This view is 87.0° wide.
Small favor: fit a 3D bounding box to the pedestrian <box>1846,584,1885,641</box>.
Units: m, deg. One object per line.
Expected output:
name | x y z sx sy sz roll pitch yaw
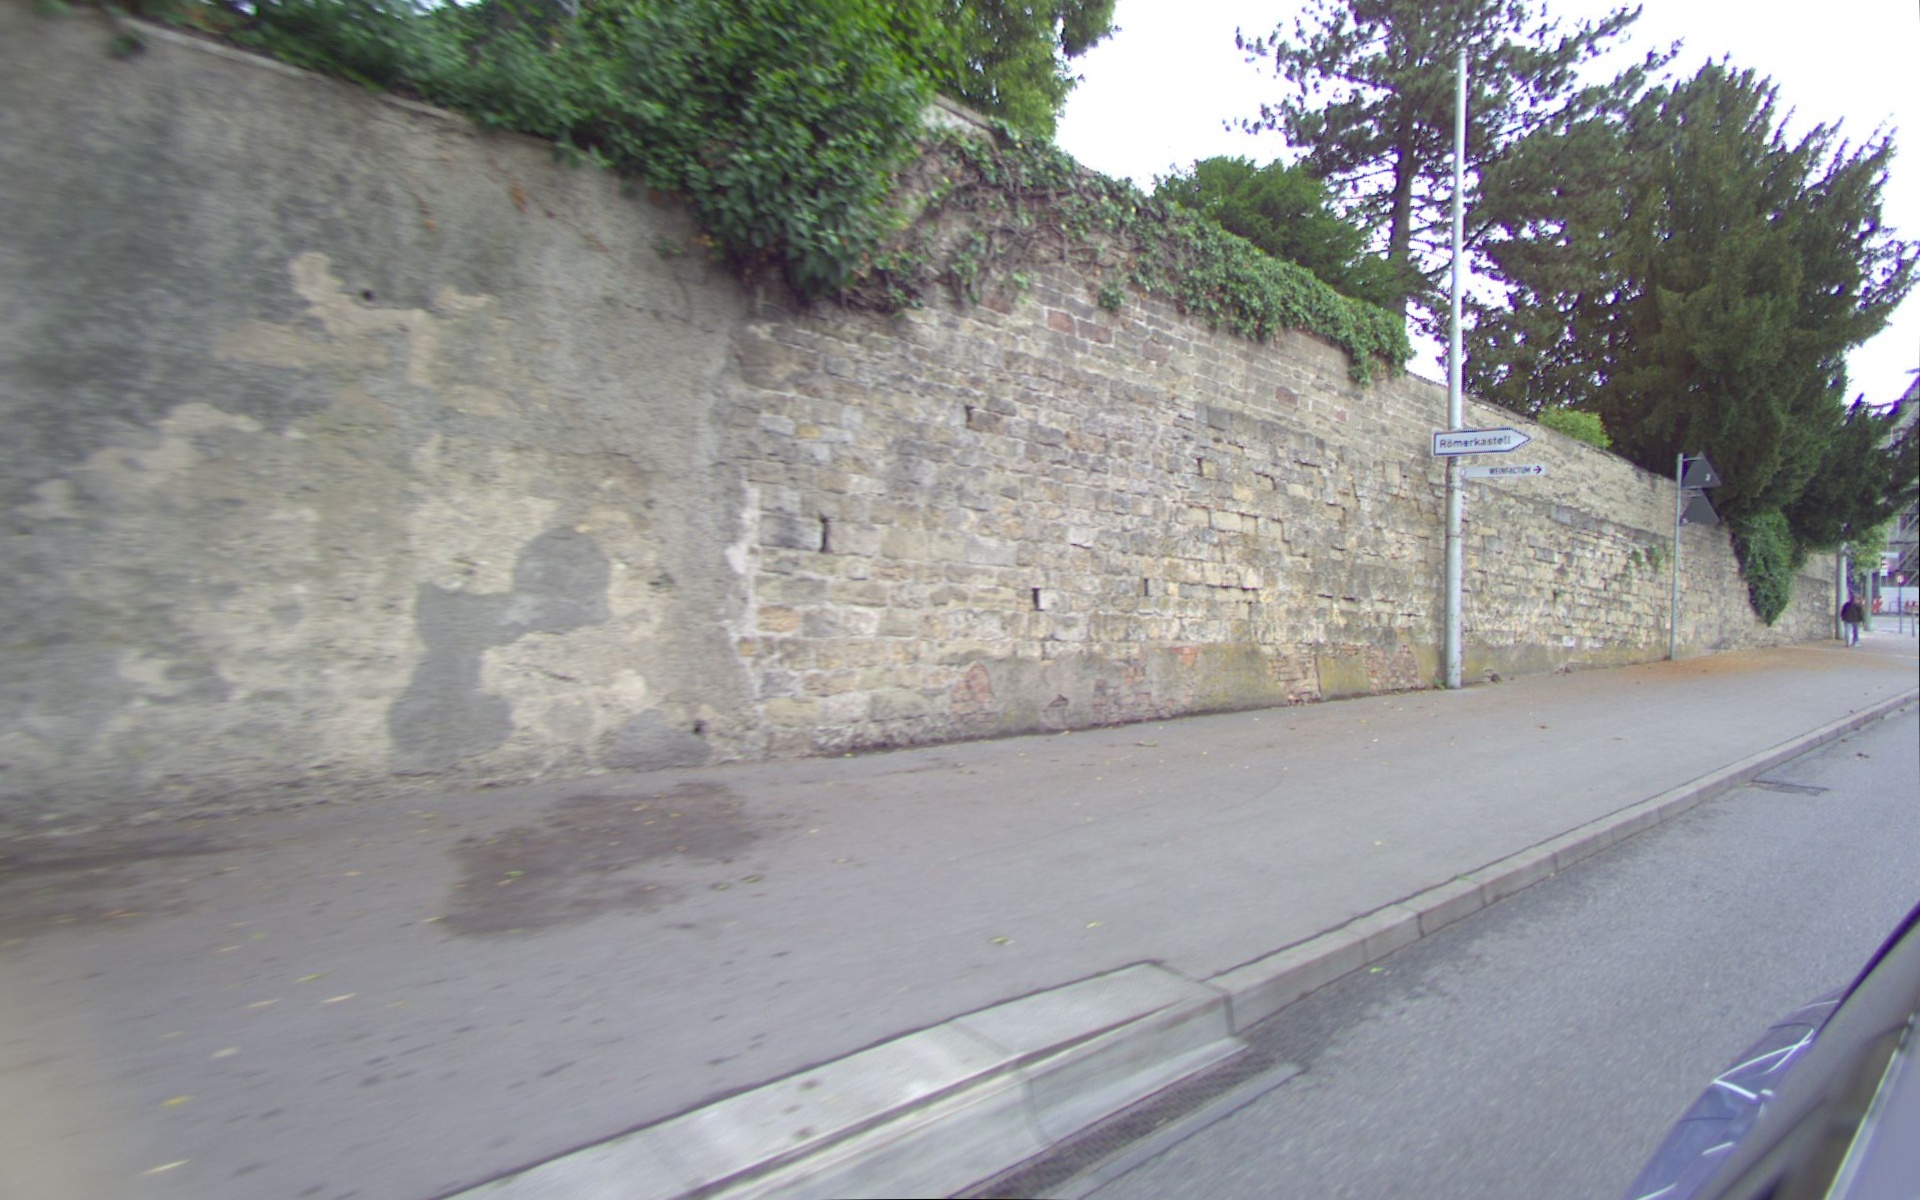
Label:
pedestrian | 26.473 0.361 29.597 0.731 1.595 0.732 1 2 -43
